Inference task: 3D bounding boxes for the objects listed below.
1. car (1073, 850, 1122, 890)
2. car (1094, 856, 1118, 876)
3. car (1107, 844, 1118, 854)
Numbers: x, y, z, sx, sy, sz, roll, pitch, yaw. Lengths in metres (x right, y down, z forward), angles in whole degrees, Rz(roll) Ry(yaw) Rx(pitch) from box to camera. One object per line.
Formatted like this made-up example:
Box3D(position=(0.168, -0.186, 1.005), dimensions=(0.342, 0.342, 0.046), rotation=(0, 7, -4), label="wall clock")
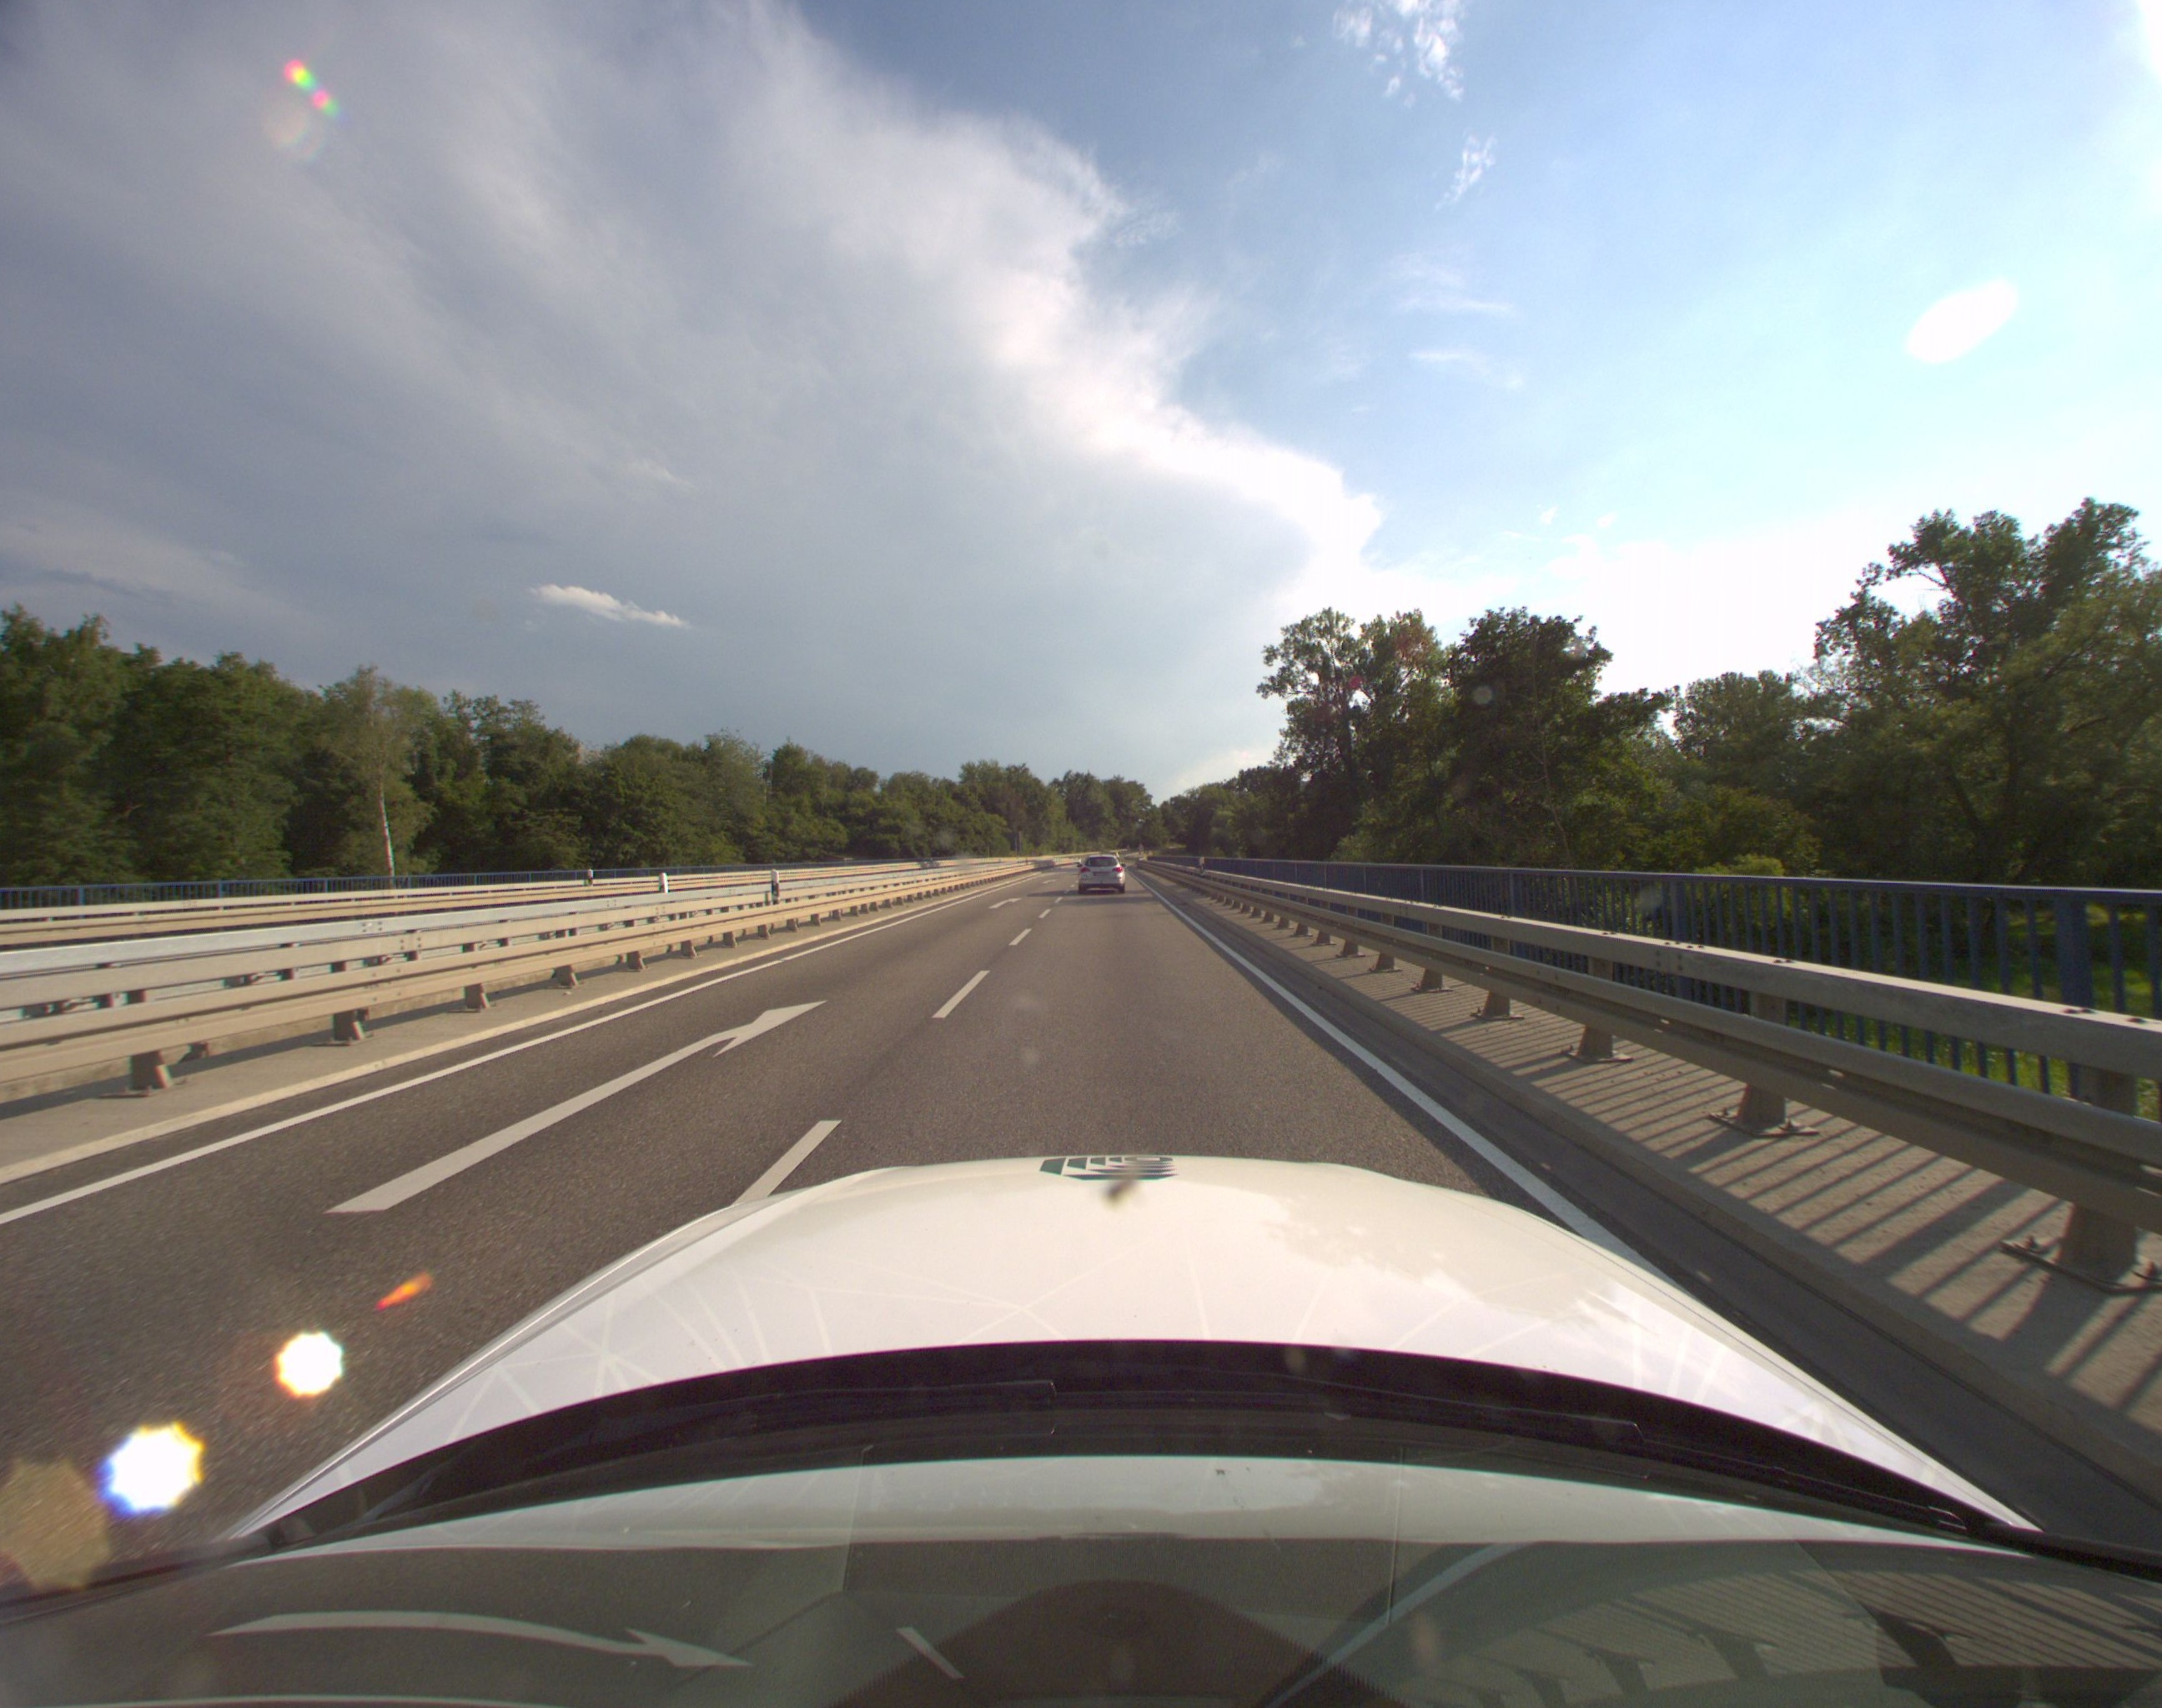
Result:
Box3D(position=(0.646, 0.606, 32.083), dimensions=(1.802, 1.486, 4.001), rotation=(0, -1, 1), label="car")
Box3D(position=(1.873, 0.909, 61.892), dimensions=(1.802, 1.486, 4.001), rotation=(0, -1, 1), label="car")
Box3D(position=(6.558, -1.097, 169.738), dimensions=(1.987, 2.014, 3.999), rotation=(0, -1, 0), label="car")
